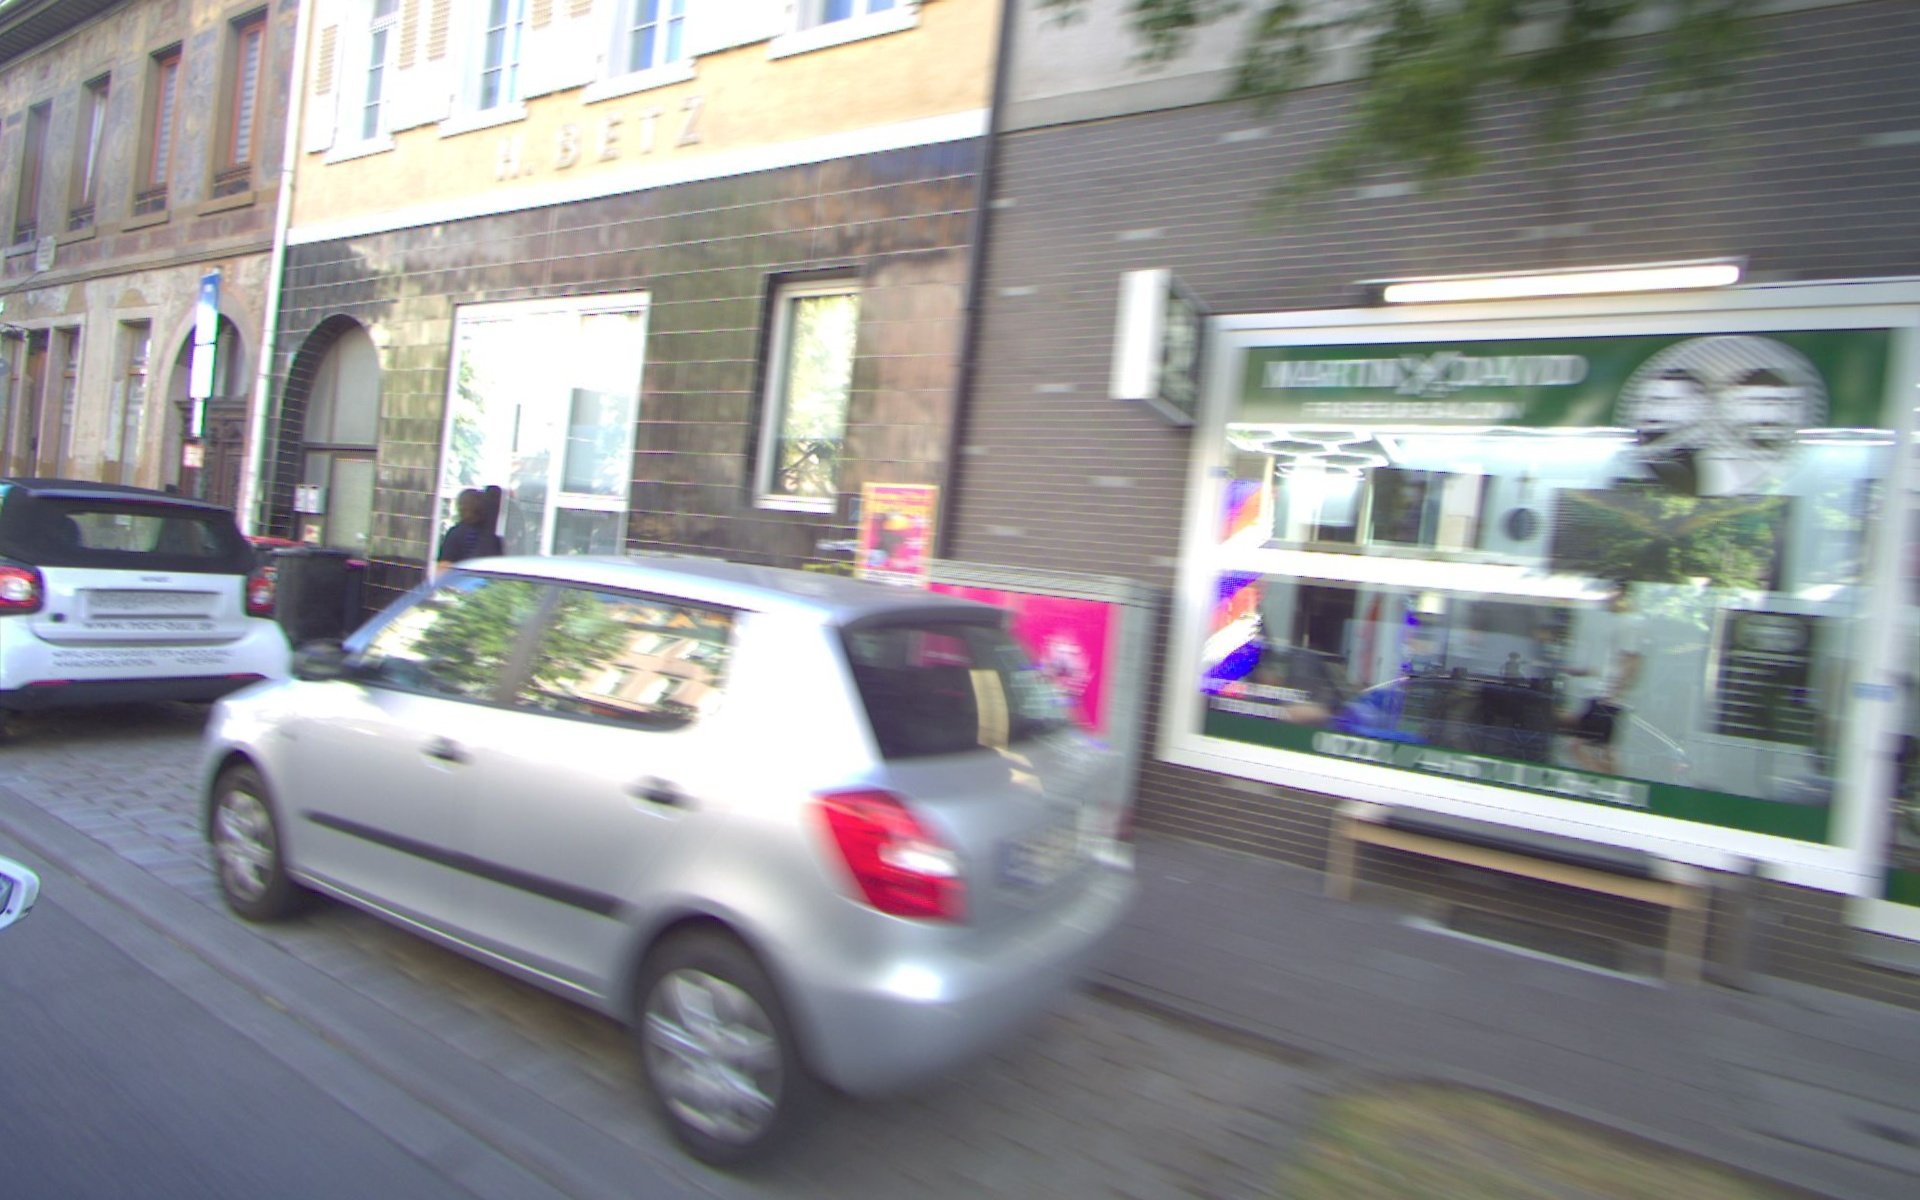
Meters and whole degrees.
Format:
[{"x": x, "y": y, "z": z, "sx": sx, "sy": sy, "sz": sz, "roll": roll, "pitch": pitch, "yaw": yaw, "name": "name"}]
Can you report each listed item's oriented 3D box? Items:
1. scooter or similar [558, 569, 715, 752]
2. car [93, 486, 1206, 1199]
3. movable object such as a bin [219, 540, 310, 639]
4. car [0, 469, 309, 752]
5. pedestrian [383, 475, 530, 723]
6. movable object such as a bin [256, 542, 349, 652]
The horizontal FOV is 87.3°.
[{"x": -2.437, "y": 0.425, "z": 7.539, "sx": 1.149, "sy": 1.203, "sz": 0.399, "roll": 7, "pitch": 3, "yaw": 33, "name": "scooter or similar"}, {"x": -1.413, "y": 0.523, "z": 3.836, "sx": 4.163, "sy": 1.550, "sz": 1.614, "roll": 7, "pitch": 3, "yaw": 31, "name": "car"}, {"x": -8.025, "y": -0.120, "z": 11.611, "sx": 0.710, "sy": 1.054, "sz": 0.588, "roll": 7, "pitch": 3, "yaw": 32, "name": "movable object such as a bin"}, {"x": -6.155, "y": -0.059, "z": 6.887, "sx": 3.009, "sy": 1.549, "sz": 1.615, "roll": 7, "pitch": 2, "yaw": 31, "name": "car"}, {"x": -3.896, "y": -0.020, "z": 7.785, "sx": 0.758, "sy": 1.789, "sz": 0.622, "roll": 7, "pitch": 3, "yaw": 32, "name": "pedestrian"}, {"x": -6.862, "y": -0.031, "z": 10.497, "sx": 0.710, "sy": 1.054, "sz": 0.522, "roll": 7, "pitch": 3, "yaw": 32, "name": "movable object such as a bin"}]
